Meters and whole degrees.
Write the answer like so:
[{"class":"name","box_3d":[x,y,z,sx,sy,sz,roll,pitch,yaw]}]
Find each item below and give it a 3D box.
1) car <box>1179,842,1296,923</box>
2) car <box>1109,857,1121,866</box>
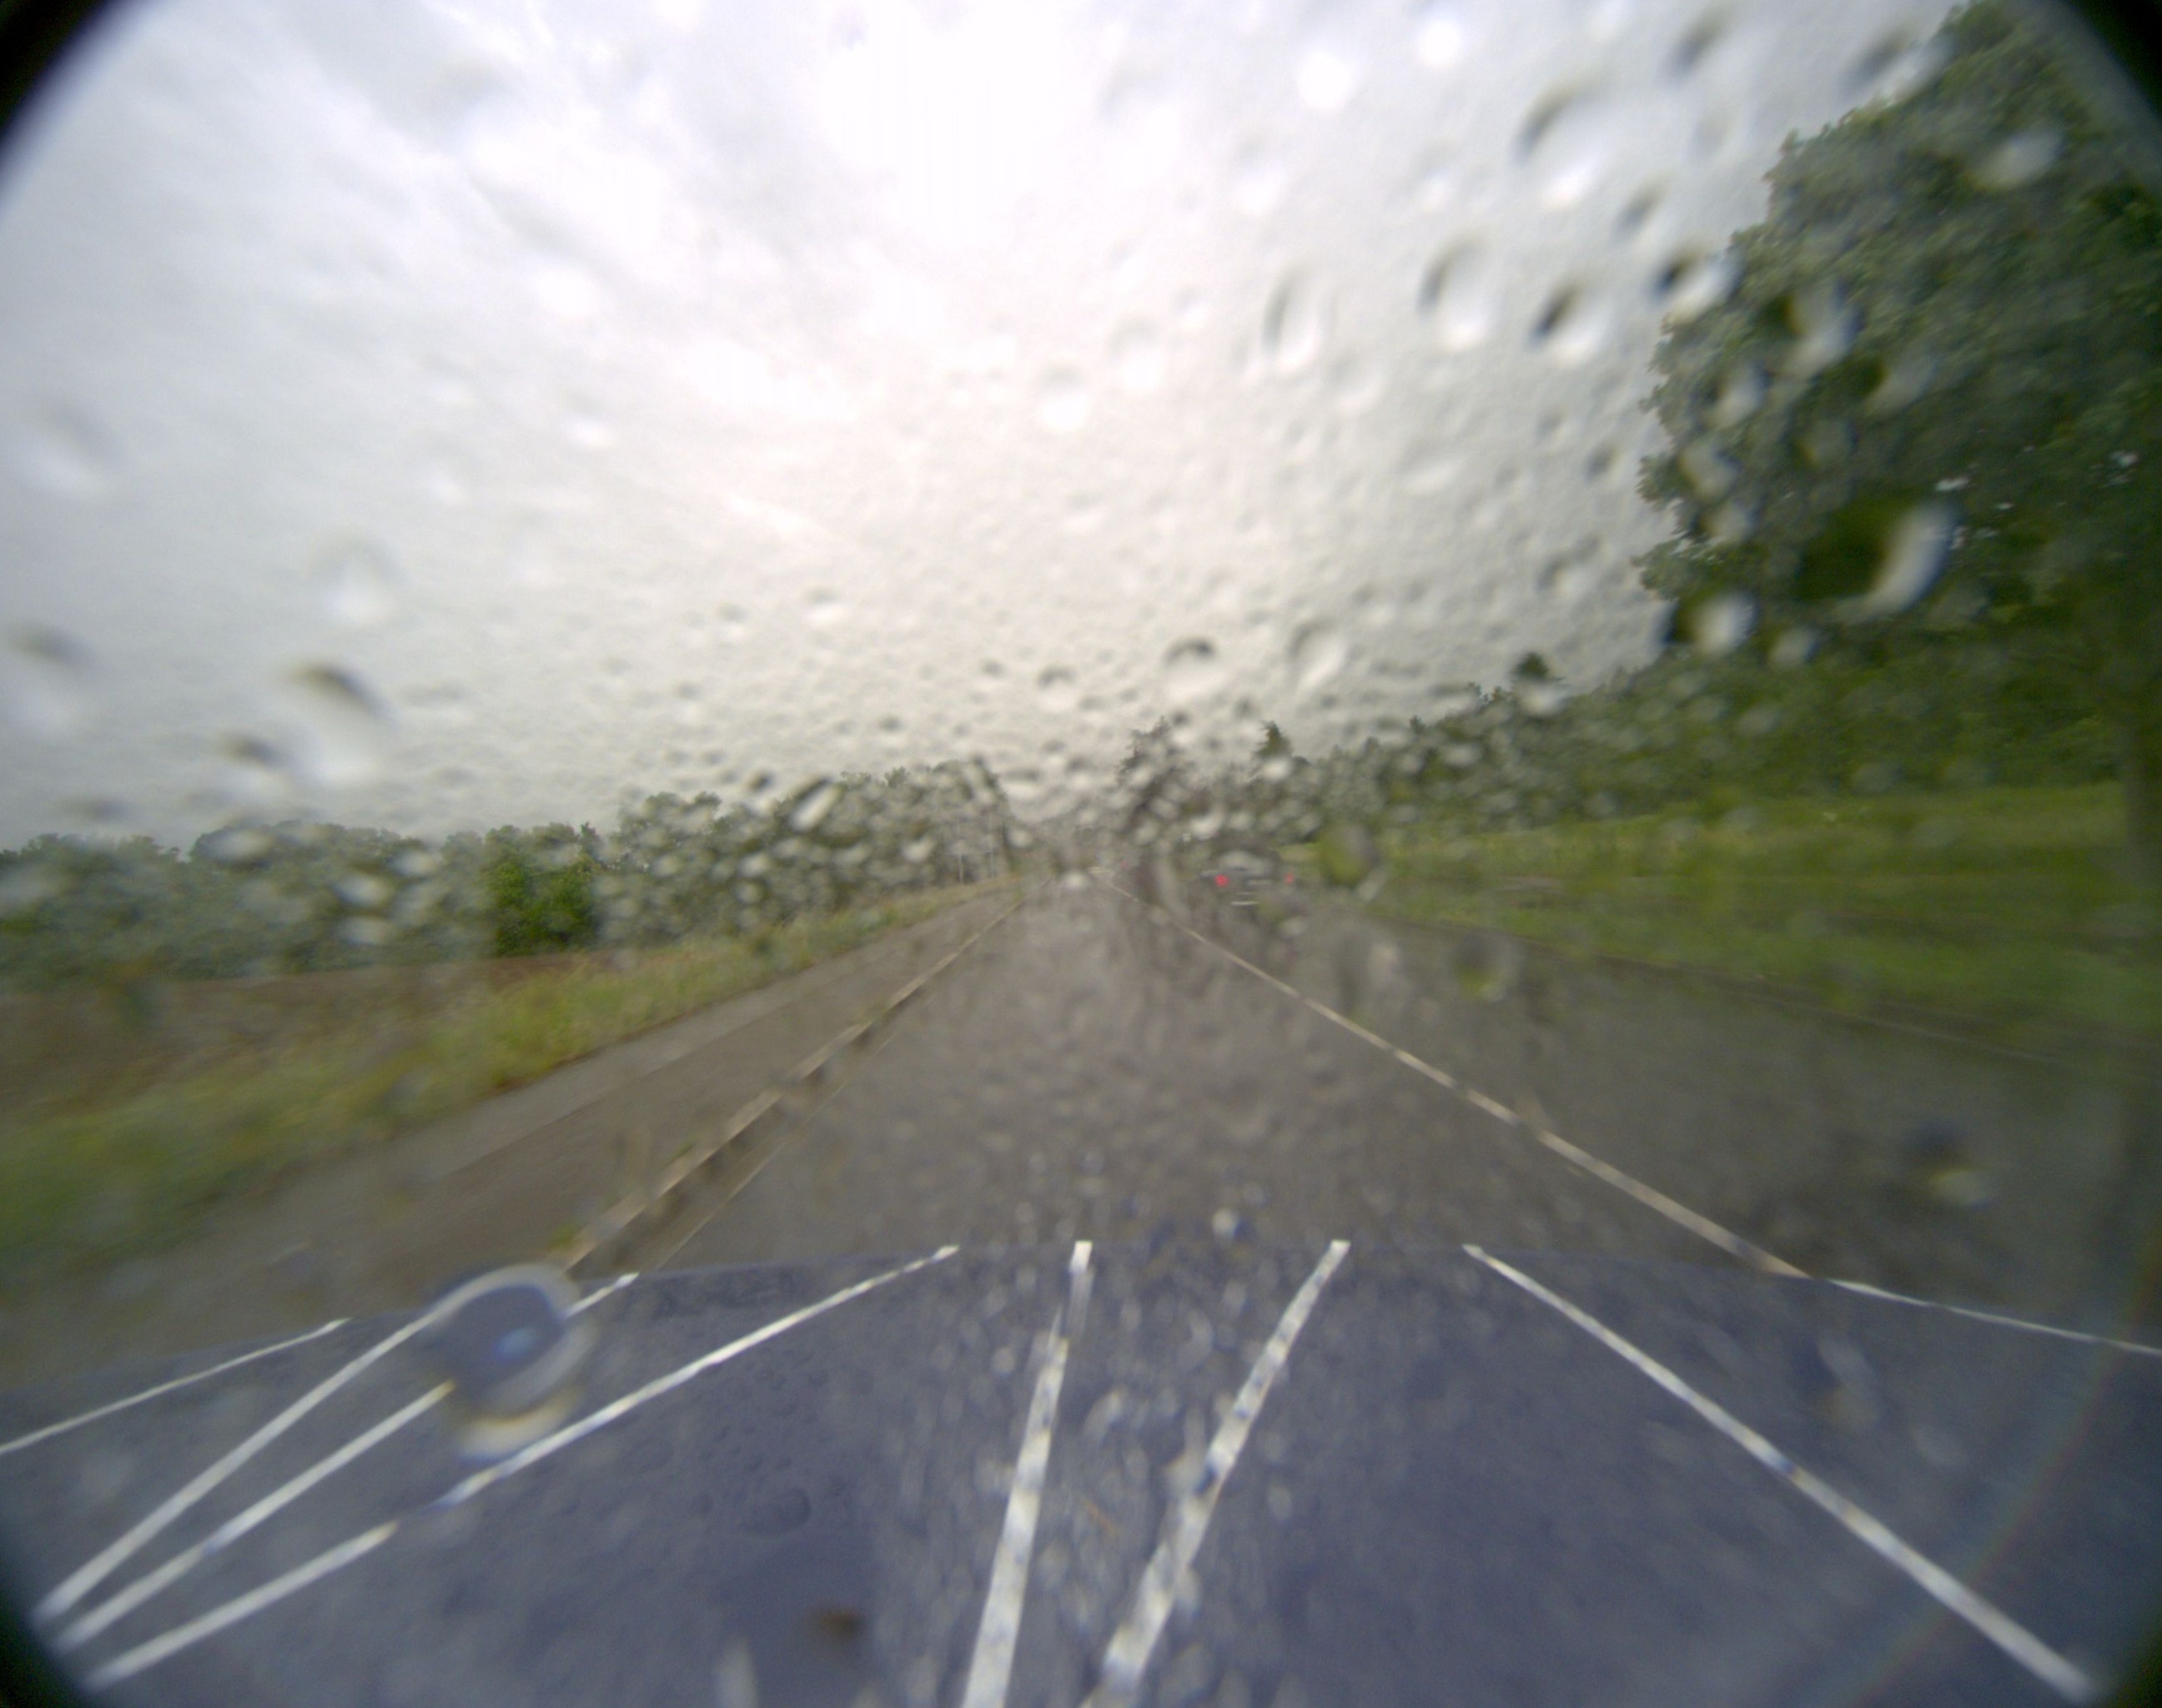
[{"class":"car","box_3d":[3.671,0.615,18.605,1.746,1.694,4.221,-2,0,-3]},{"class":"car","box_3d":[5.205,1.178,116.910,1.540,1.237,3.999,-2,0,-1]}]
